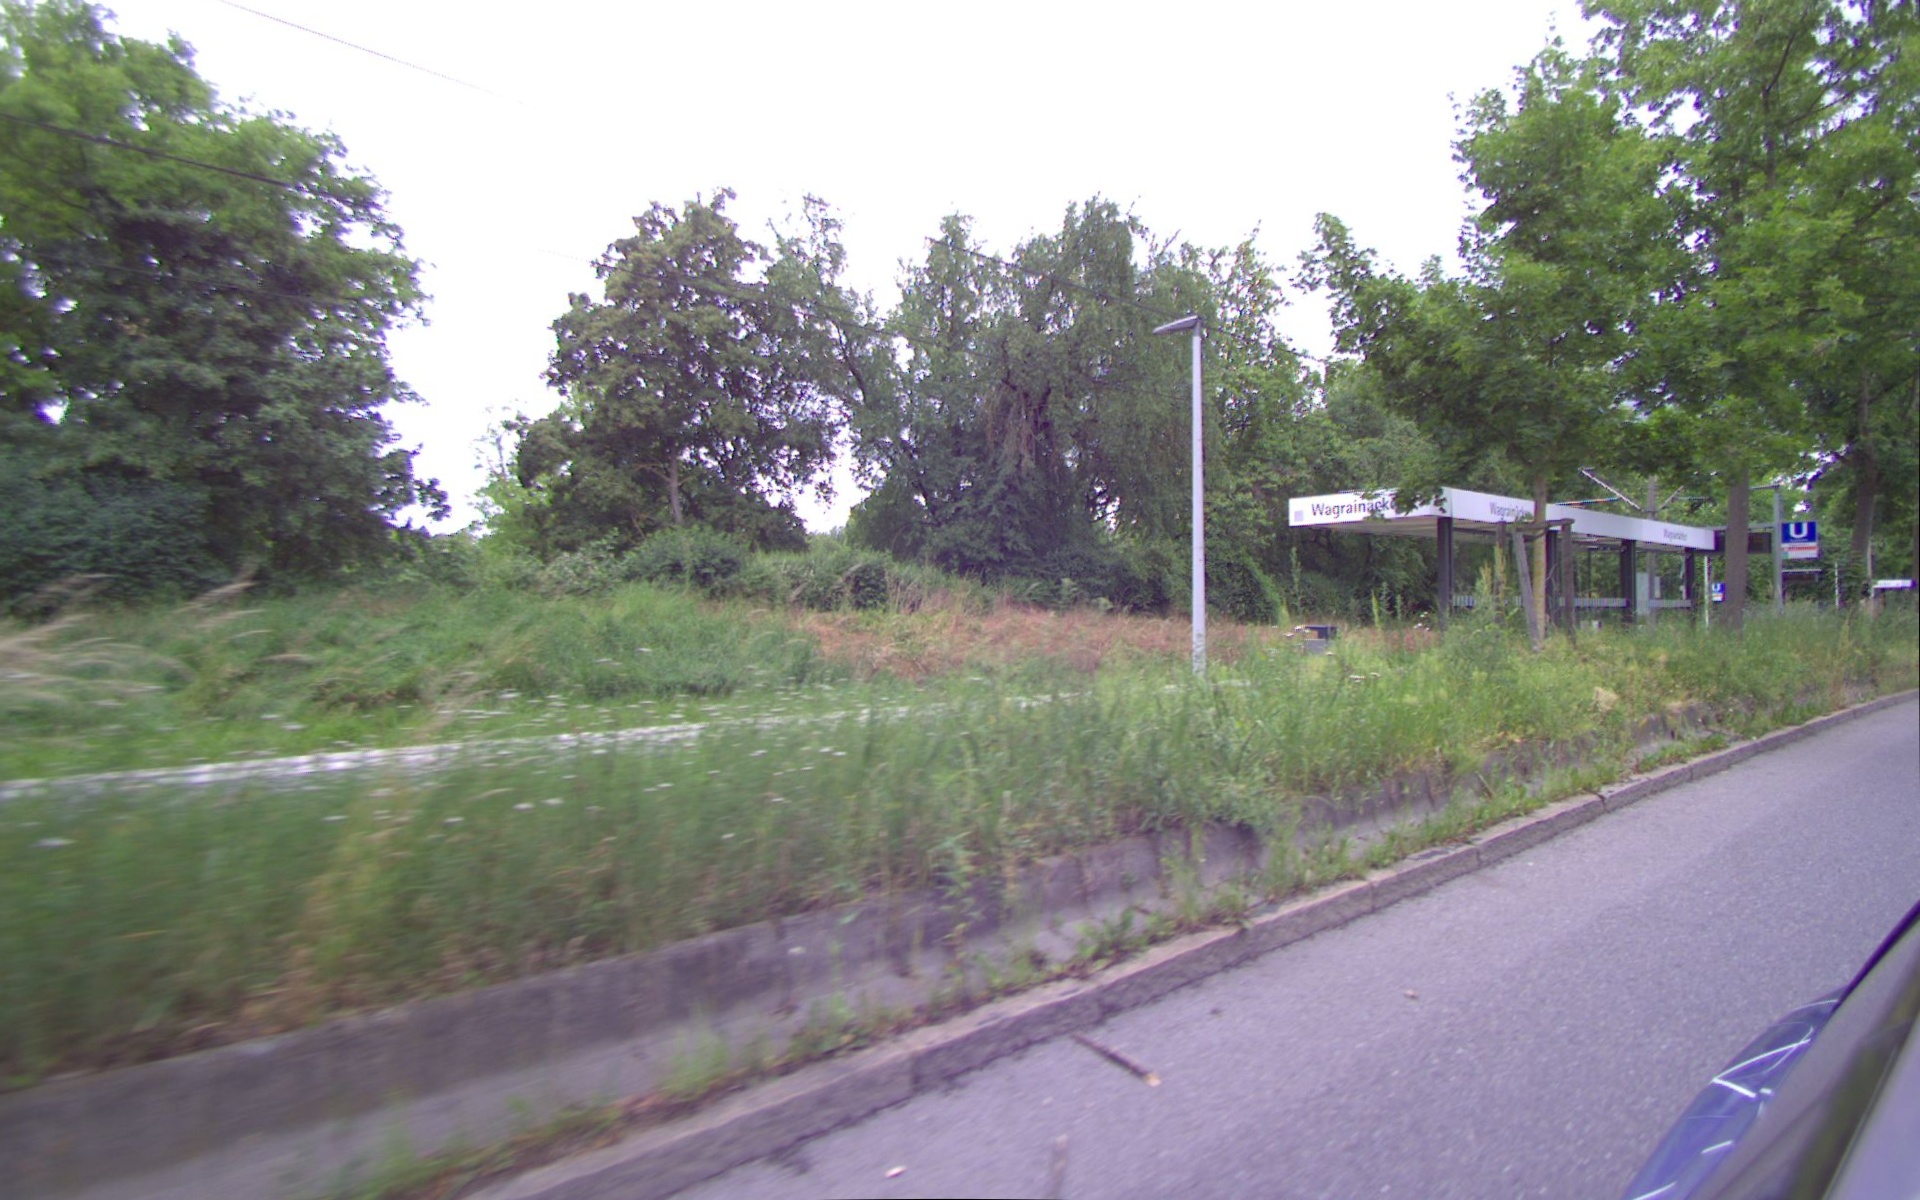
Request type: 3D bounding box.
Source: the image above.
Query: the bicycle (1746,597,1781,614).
[{"bbox_3d":[47.651,0.339,60.023,0.441,0.986,1.513,1,-3,-33],"label":"bicycle"}]
